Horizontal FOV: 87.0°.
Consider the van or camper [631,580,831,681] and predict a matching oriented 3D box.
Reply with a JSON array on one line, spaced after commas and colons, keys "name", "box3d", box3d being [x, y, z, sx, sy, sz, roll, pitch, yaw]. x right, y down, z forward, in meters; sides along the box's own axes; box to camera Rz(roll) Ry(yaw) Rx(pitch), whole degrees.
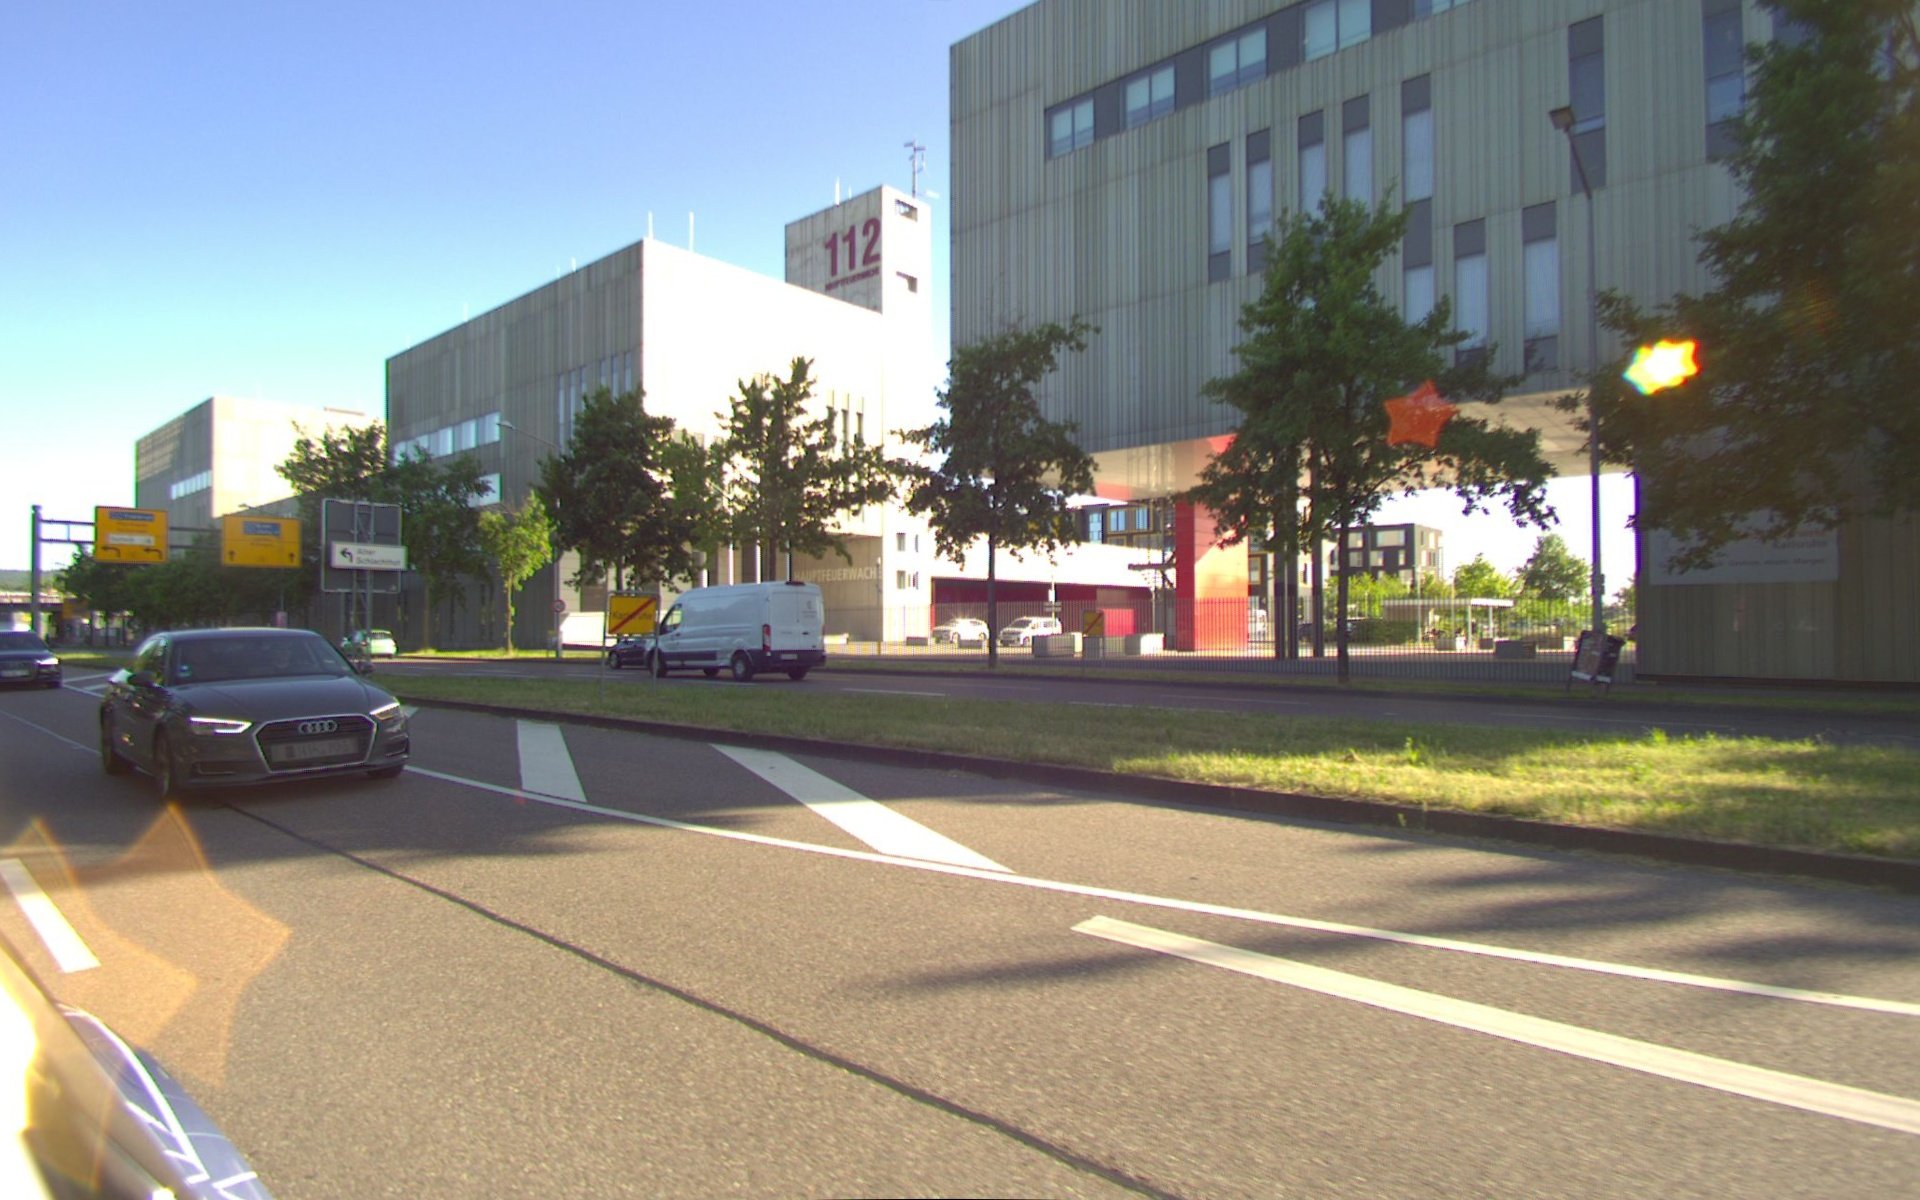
[{"name": "van or camper", "box3d": [-6.155, 0.846, 26.663, 5.989, 2.387, 1.973, -2, -4, 41]}]

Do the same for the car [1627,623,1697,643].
[{"name": "car", "box3d": [43.554, 2.063, 62.827, 3.442, 1.226, 1.415, -2, -2, 42]}]

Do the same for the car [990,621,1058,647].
[{"name": "car", "box3d": [4.018, 2.083, 62.907, 1.935, 1.514, 4.340, -2, -2, 42]}]

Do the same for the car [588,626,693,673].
[{"name": "car", "box3d": [-10.989, 1.673, 34.673, 4.023, 1.519, 1.535, -2, -2, 40]}]

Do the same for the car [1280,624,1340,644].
[{"name": "car", "box3d": [22.755, 2.221, 65.841, 3.381, 1.268, 1.348, -2, -2, 40]}]

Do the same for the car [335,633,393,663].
[{"name": "car", "box3d": [-30.145, 2.427, 51.176, 3.456, 1.447, 1.431, -2, -2, 40]}]

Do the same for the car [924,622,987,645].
[{"name": "car", "box3d": [-0.261, 2.202, 66.859, 1.762, 1.464, 4.210, -3, -2, 42]}]

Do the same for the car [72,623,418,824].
[{"name": "car", "box3d": [-6.836, 0.978, 9.481, 4.363, 1.414, 1.680, -2, -1, 41]}]

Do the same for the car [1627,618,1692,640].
[{"name": "car", "box3d": [46.363, 1.934, 67.072, 3.439, 1.394, 1.416, -2, -2, 39]}]

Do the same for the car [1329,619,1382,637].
[{"name": "car", "box3d": [29.389, 2.082, 75.270, 3.381, 1.268, 1.348, -2, -2, 40]}]

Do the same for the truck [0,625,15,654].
[{"name": "truck", "box3d": [-104.141, 4.273, 108.993, 7.112, 2.983, 2.657, -2, -4, 42]}]

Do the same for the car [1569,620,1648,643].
[{"name": "car", "box3d": [35.223, 1.720, 55.013, 3.442, 1.226, 1.415, -2, -2, 42]}]

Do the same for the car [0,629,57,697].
[{"name": "car", "box3d": [-23.346, 1.491, 24.519, 3.944, 1.549, 1.680, -2, -3, 41]}]

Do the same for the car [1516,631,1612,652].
[{"name": "car", "box3d": [26.774, 1.831, 44.880, 3.442, 0.921, 1.415, -2, -2, 42]}]
